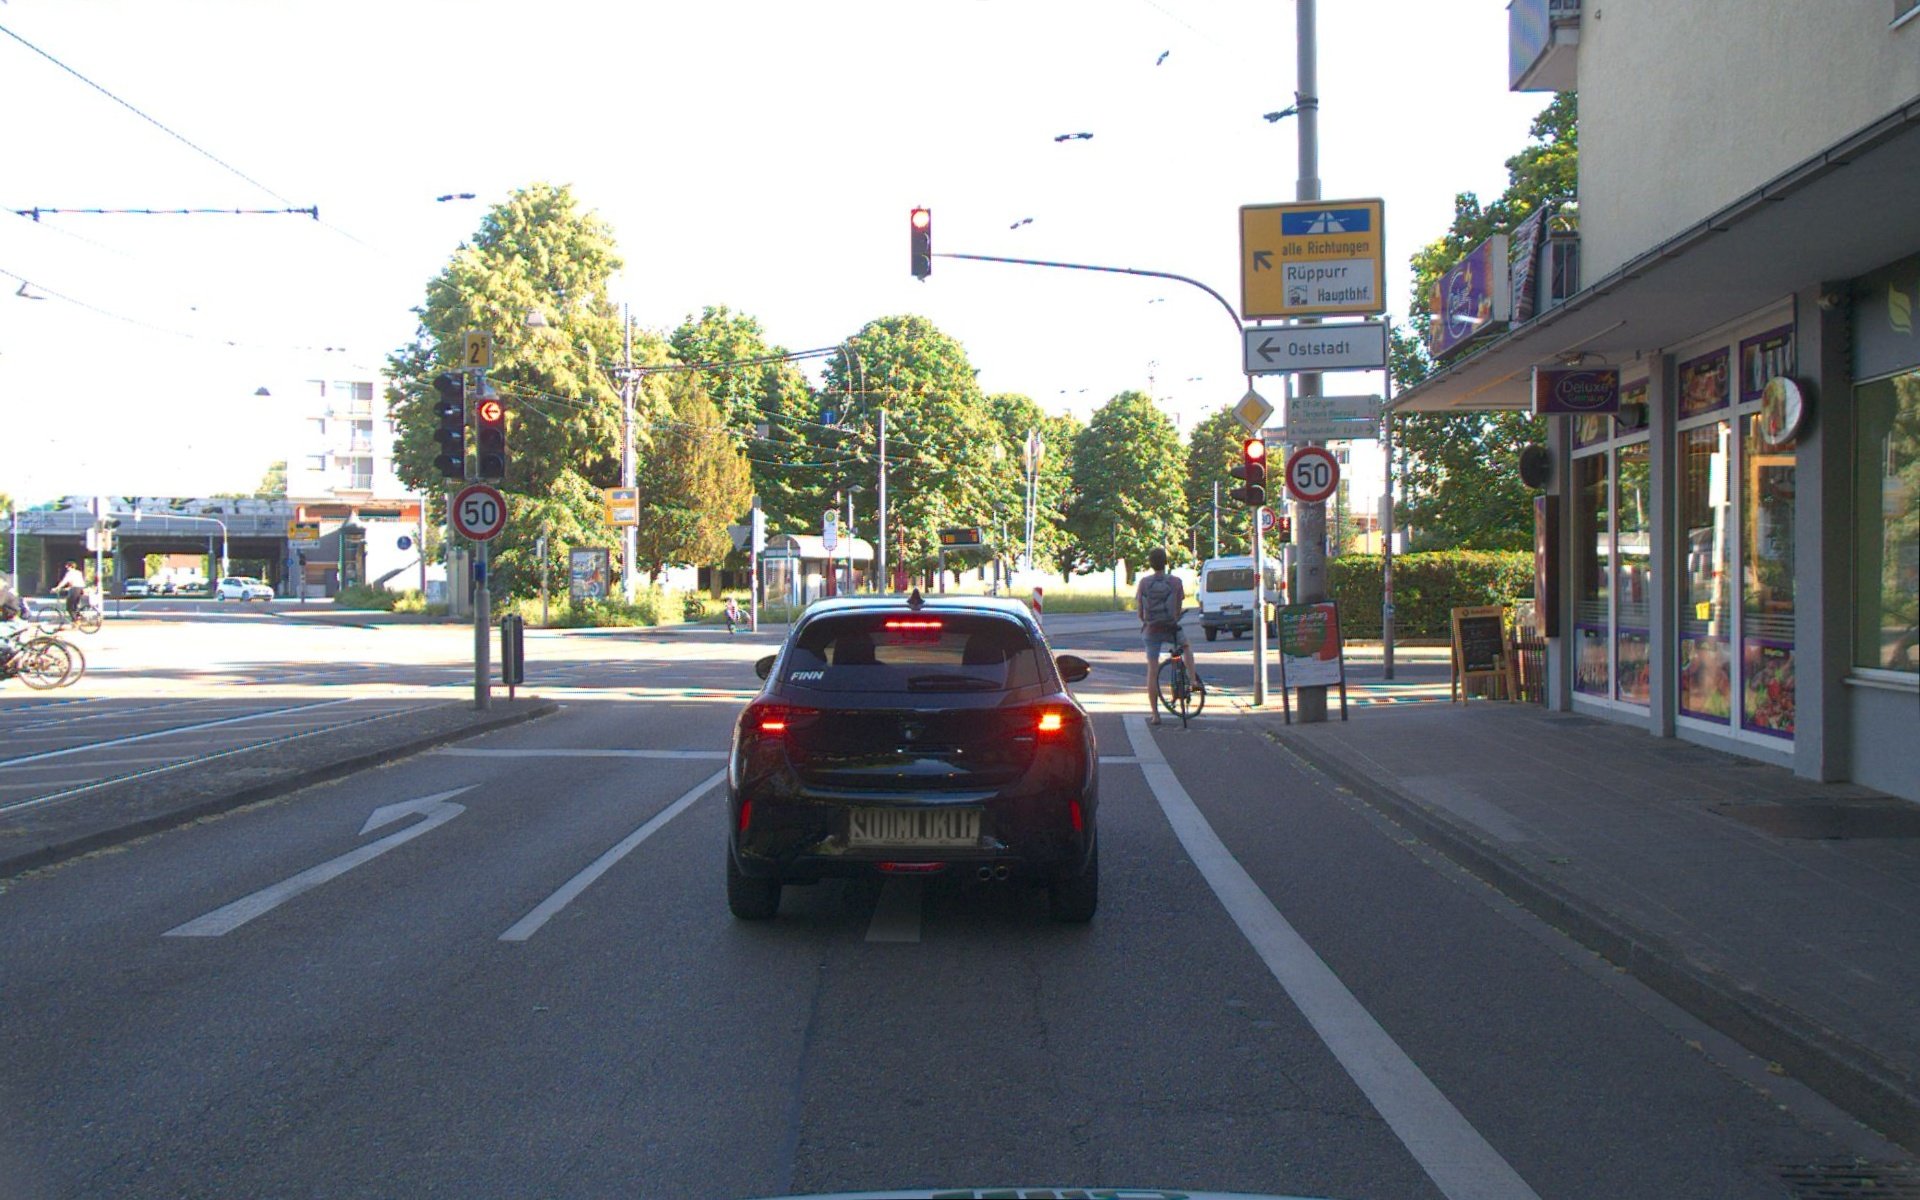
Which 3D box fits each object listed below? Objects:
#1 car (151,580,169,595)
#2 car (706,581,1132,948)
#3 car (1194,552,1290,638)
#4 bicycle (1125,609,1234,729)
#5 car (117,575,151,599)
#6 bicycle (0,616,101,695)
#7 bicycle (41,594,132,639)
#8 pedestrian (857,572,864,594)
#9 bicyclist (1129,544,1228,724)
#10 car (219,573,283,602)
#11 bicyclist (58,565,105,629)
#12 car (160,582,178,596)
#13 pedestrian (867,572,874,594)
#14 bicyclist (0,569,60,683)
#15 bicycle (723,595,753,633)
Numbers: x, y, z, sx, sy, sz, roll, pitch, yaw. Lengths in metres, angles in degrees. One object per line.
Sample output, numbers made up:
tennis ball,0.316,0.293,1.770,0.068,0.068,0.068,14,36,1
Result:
car,-108.023,-1.711,223.284,1.971,1.981,4.458,-1,1,-28
car,-0.183,0.646,8.711,1.692,1.454,4.186,1,0,-1
car,8.010,-0.156,46.588,2.020,2.288,4.890,0,1,17
bicycle,2.352,0.708,17.985,0.842,1.173,2.171,-1,1,-1
car,-66.172,-1.062,132.596,2.183,1.855,4.117,-1,1,-23
bicycle,-13.145,0.765,22.883,2.162,1.051,0.828,-1,0,-24
bicycle,-22.303,0.420,42.261,2.012,1.113,0.592,0,0,2
pedestrian,-6.546,-1.129,108.447,0.404,1.437,0.436,2,0,-3
bicyclist,2.354,0.355,17.910,0.922,1.883,0.864,-1,0,-1
car,-45.481,-0.777,106.055,4.098,1.836,1.733,0,1,31
bicyclist,-22.438,-0.083,42.256,0.843,1.623,0.649,0,0,2
car,-96.932,-1.346,202.715,1.969,1.630,4.211,-1,1,-26
pedestrian,-5.882,-1.111,108.233,0.404,1.437,0.436,2,0,-1
bicyclist,-13.126,0.346,22.874,1.098,1.547,0.915,-1,0,-24
bicycle,-6.219,0.380,46.383,0.593,1.049,1.982,0,1,-1
